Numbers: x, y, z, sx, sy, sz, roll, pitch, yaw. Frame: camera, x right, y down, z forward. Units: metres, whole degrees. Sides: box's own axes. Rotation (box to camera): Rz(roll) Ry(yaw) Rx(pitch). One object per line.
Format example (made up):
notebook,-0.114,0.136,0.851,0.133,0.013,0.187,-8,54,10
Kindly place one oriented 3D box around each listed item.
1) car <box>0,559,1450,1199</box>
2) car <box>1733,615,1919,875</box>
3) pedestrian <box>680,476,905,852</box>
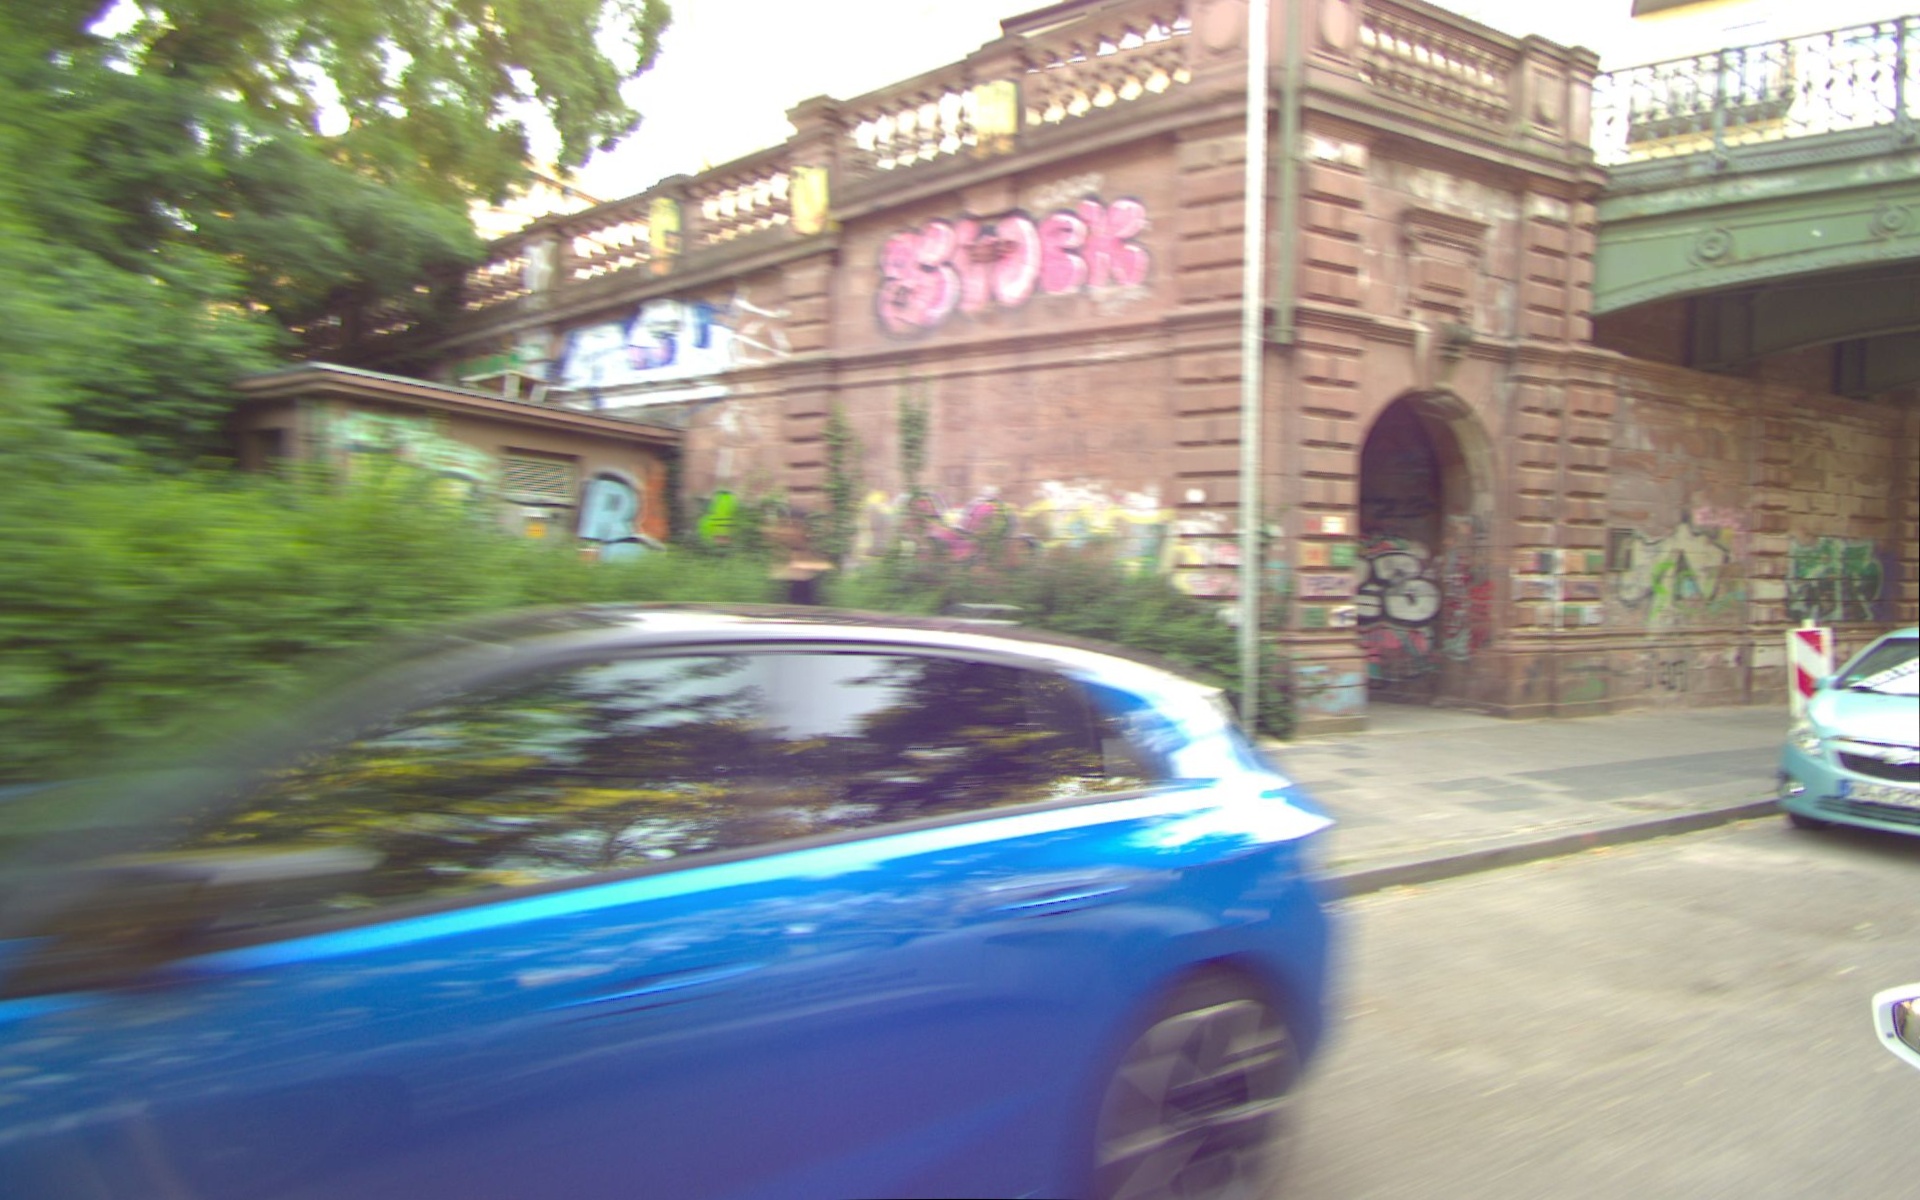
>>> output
car,-1.049,0.710,2.225,4.326,1.486,1.735,2,2,-31
car,7.422,0.916,7.252,3.869,1.568,1.587,1,0,-30
pedestrian,-0.958,0.333,5.728,1.036,1.940,0.633,1,2,-34
